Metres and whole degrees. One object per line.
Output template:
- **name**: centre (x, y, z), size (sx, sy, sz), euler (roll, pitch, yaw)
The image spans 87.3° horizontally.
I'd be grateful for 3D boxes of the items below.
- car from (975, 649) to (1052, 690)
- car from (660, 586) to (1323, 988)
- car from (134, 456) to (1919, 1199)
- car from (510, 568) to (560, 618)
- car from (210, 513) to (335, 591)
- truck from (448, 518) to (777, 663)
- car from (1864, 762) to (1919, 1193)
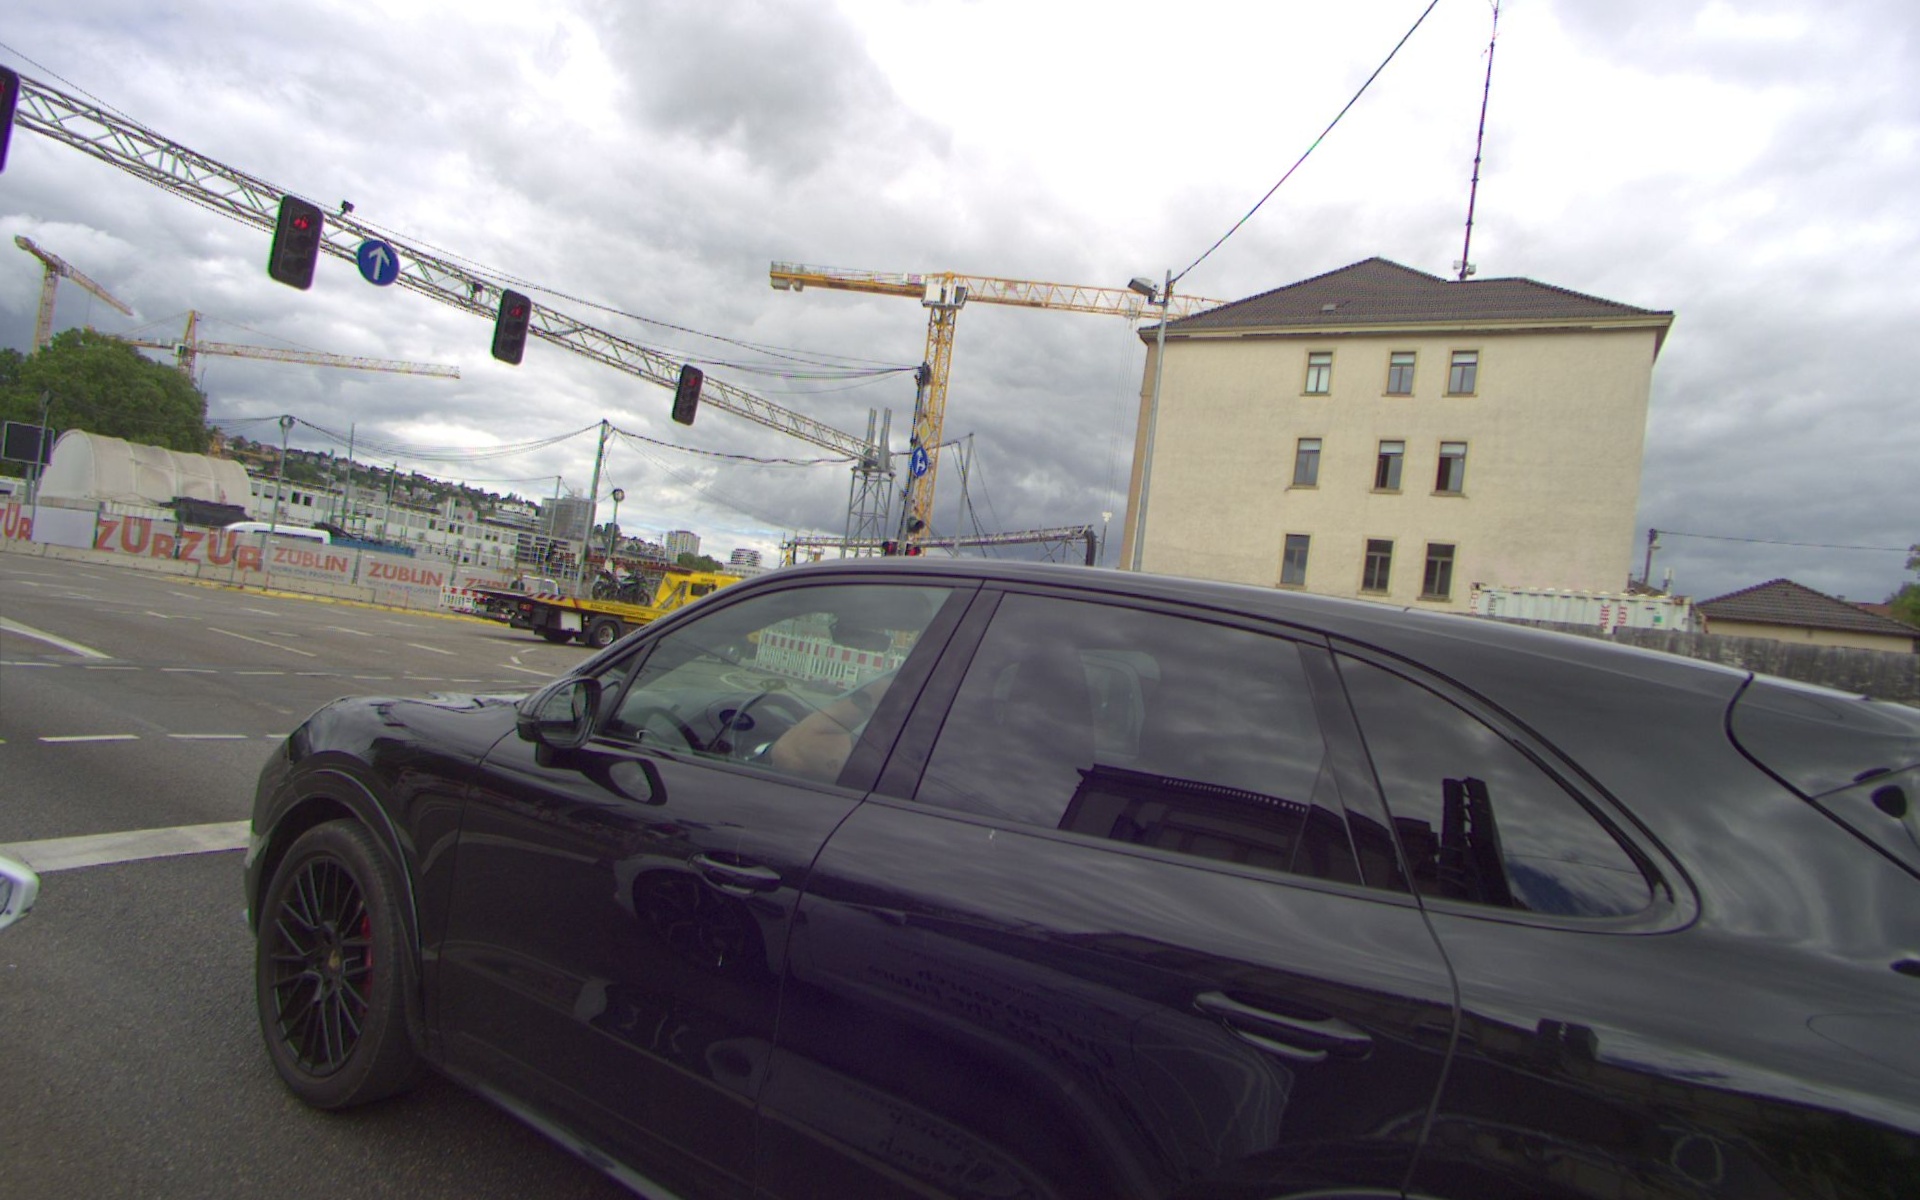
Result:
- **car**: centre (2.539, 3.262, 47.050), size (1.655, 1.512, 3.993), euler (6, -2, 34)
- **car**: centre (0.106, 0.979, 6.664), size (3.934, 1.644, 1.679), euler (6, -2, 32)
- **car**: centre (-0.062, 0.717, 2.667), size (4.410, 1.735, 1.828), euler (6, -2, 32)
- **car**: centre (-19.170, -0.323, 45.300), size (1.757, 1.976, 3.108), euler (8, -2, -25)
- **car**: centre (-29.581, -2.040, 43.372), size (1.660, 2.692, 3.979), euler (6, -2, 45)
- **truck**: centre (-9.316, -0.045, 28.468), size (2.583, 2.835, 9.003), euler (7, -2, 31)
- **car**: centre (5.757, 1.679, 2.570), size (4.729, 1.644, 1.828), euler (6, -2, 32)
